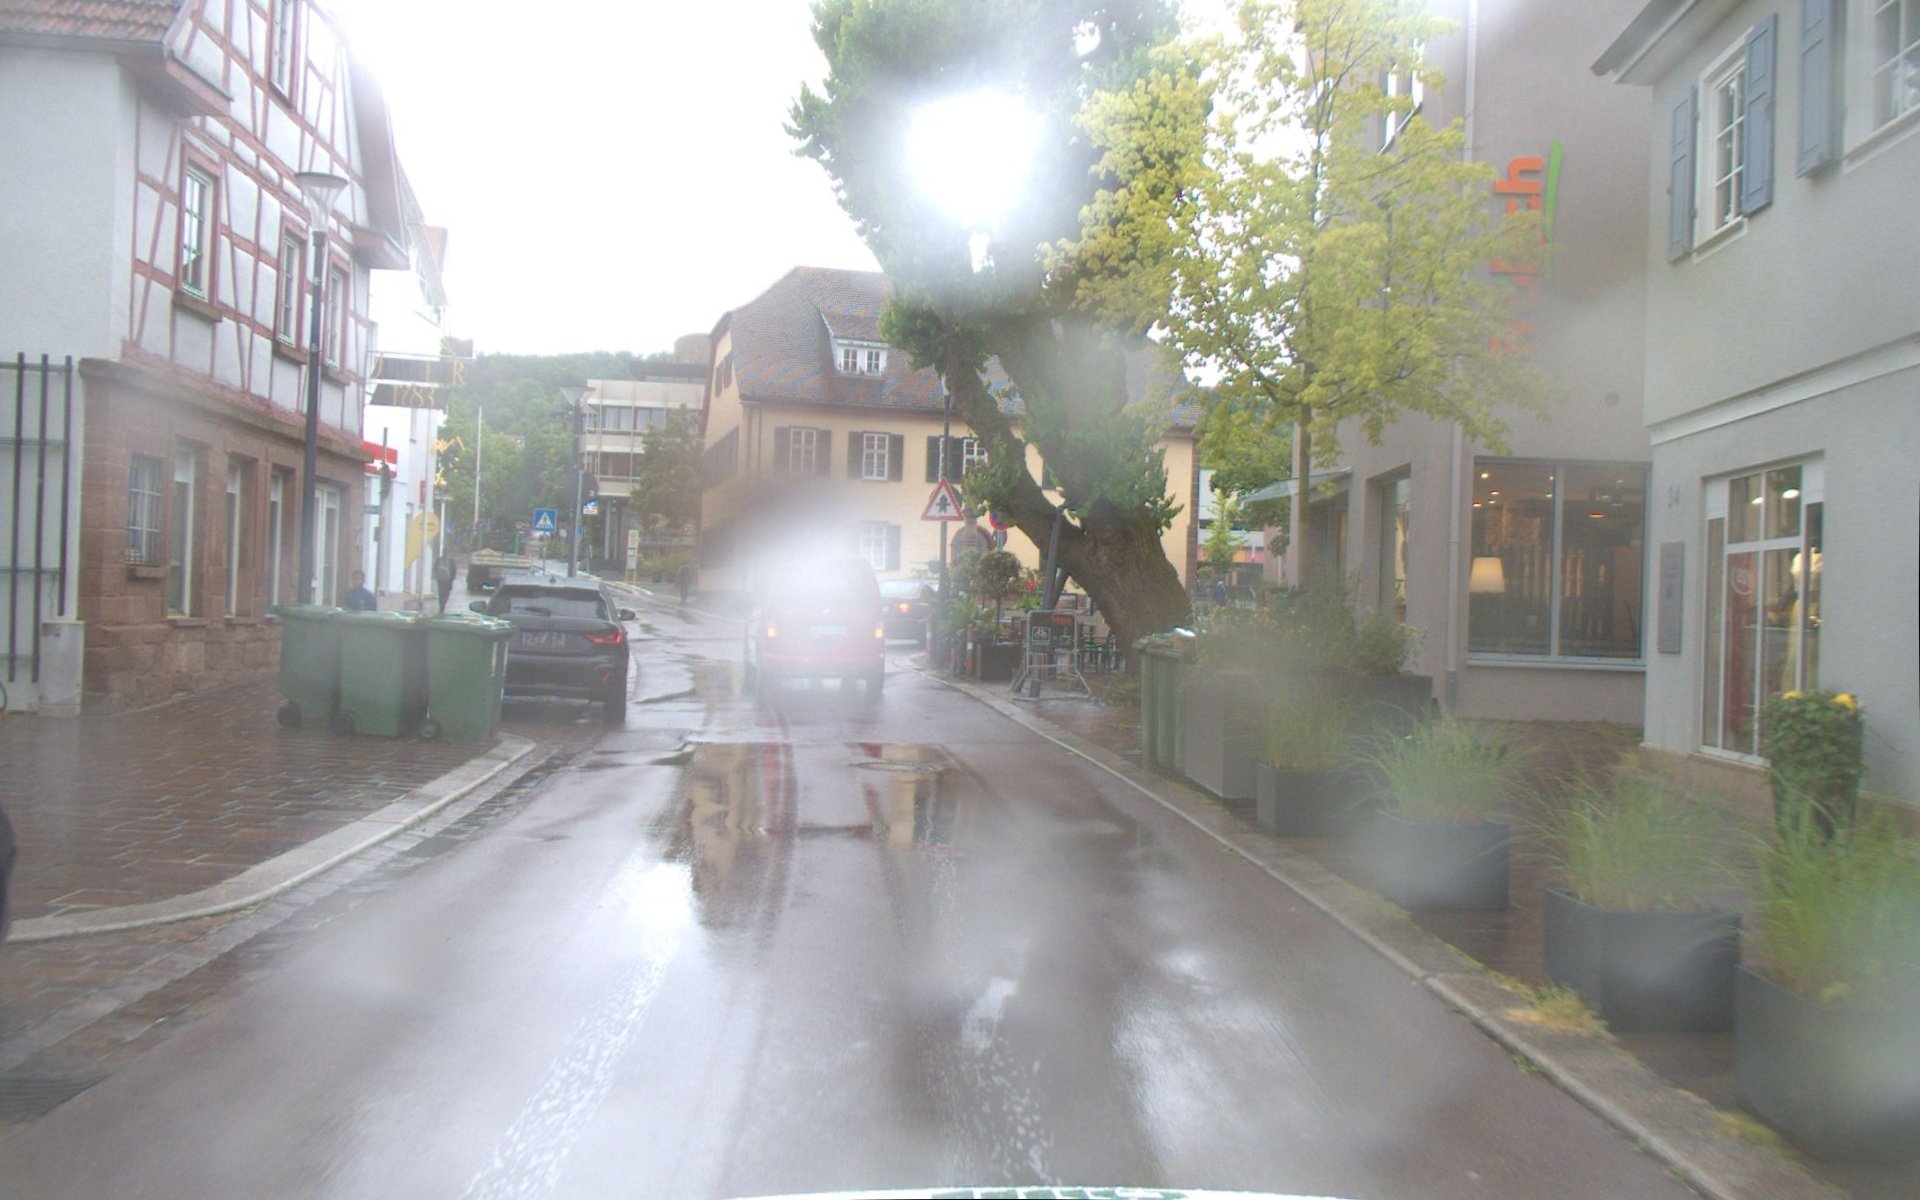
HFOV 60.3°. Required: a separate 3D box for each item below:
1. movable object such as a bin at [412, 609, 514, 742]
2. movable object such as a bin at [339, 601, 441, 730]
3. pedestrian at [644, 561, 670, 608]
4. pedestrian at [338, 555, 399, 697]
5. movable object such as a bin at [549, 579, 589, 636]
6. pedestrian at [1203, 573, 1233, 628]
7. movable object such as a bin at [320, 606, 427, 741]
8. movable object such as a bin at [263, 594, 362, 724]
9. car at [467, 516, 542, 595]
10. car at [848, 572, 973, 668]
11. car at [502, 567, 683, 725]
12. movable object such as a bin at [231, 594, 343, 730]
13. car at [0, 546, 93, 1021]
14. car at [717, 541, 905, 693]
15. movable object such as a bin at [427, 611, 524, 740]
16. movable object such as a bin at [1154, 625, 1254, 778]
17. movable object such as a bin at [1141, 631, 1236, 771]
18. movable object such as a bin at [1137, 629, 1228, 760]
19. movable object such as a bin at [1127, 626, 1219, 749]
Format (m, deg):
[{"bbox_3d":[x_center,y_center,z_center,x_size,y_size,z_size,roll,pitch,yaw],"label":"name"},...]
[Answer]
[{"bbox_3d":[-4.394,0.661,14.663,0.712,1.129,0.596,3,-1,-7],"label":"movable object such as a bin"},{"bbox_3d":[-5.210,0.595,15.159,0.712,1.129,0.596,3,-1,-7],"label":"movable object such as a bin"},{"bbox_3d":[-12.491,-0.627,68.177,0.748,1.874,0.902,3,-1,3],"label":"pedestrian"},{"bbox_3d":[-7.408,0.325,20.720,0.508,1.741,0.577,3,-1,-7],"label":"pedestrian"},{"bbox_3d":[-8.063,0.158,34.120,0.701,1.125,0.598,3,-1,-9],"label":"movable object such as a bin"},{"bbox_3d":[9.138,0.018,58.647,0.880,1.874,0.766,3,-1,-1],"label":"pedestrian"},{"bbox_3d":[-5.142,0.634,14.530,0.712,1.129,0.596,3,-1,-7],"label":"movable object such as a bin"},{"bbox_3d":[-5.901,0.535,15.099,0.647,1.129,0.615,3,-1,-7],"label":"movable object such as a bin"},{"bbox_3d":[-17.376,-1.606,62.883,2.264,2.647,6.920,3,-1,-19],"label":"car"},{"bbox_3d":[-0.973,0.443,35.051,1.951,1.831,4.003,3,-1,8],"label":"car"},{"bbox_3d":[-4.195,0.445,18.992,1.757,1.521,3.988,3,1,-12],"label":"car"},{"bbox_3d":[-5.873,0.539,14.470,0.712,1.129,0.596,3,-1,-7],"label":"movable object such as a bin"},{"bbox_3d":[-3.714,0.577,3.729,1.723,1.499,3.939,3,1,-6],"label":"car"},{"bbox_3d":[-2.187,0.165,23.265,1.863,1.842,3.984,3,1,-16],"label":"car"},{"bbox_3d":[-4.469,0.690,15.293,0.712,1.129,0.644,3,-1,-7],"label":"movable object such as a bin"},{"bbox_3d":[1.950,0.804,13.261,0.619,1.170,0.578,3,-1,-7],"label":"movable object such as a bin"},{"bbox_3d":[1.909,0.834,13.845,0.619,1.123,0.578,3,-1,-7],"label":"movable object such as a bin"},{"bbox_3d":[1.985,0.836,14.809,0.664,1.122,0.579,3,-1,-3],"label":"movable object such as a bin"},{"bbox_3d":[1.978,0.803,15.436,0.707,1.092,0.648,3,-1,-3],"label":"movable object such as a bin"}]
